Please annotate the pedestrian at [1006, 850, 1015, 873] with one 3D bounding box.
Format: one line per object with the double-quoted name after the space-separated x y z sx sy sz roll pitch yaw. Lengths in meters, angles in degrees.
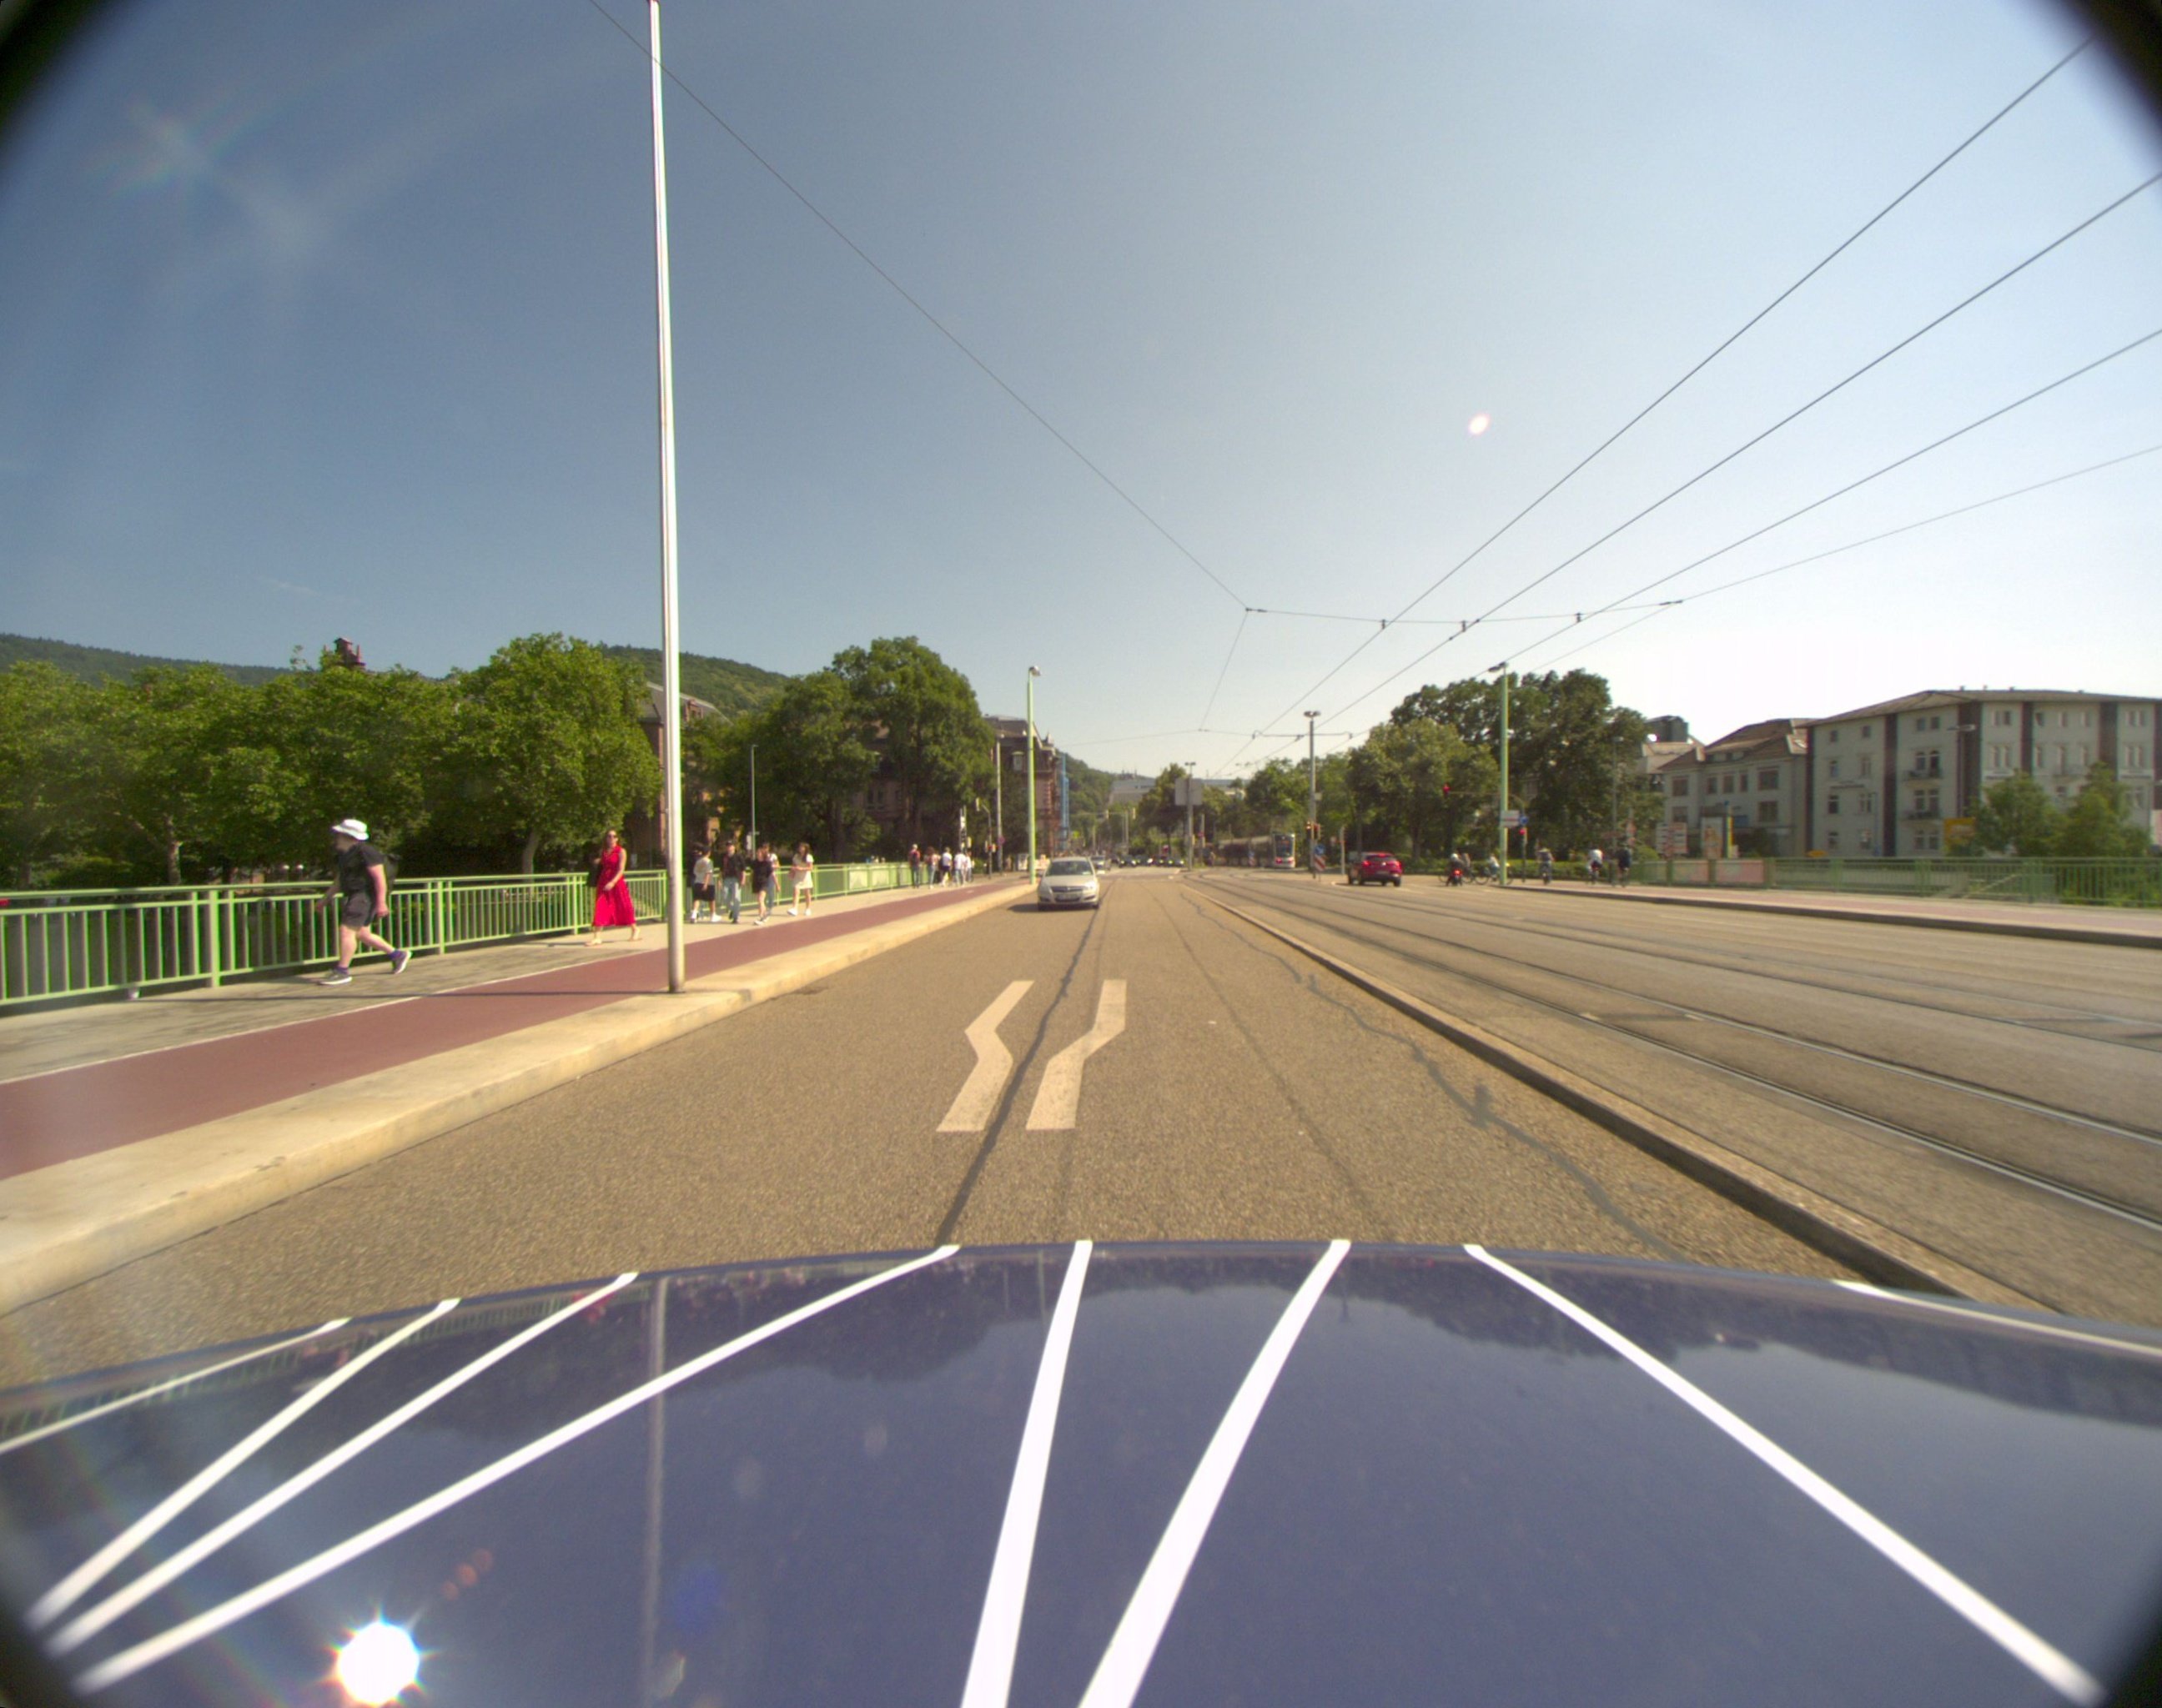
-6.350 0.669 68.365 0.777 2.002 1.059 0 1 -1 "pedestrian"

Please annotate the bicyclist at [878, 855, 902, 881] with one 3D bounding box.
-11.042 0.811 43.965 1.081 1.465 0.763 -2 0 23 "bicyclist"

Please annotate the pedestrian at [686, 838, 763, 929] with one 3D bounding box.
-7.155 0.567 15.316 0.987 1.759 1.254 0 1 -2 "pedestrian"

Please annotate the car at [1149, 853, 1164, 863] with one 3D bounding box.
10.559 0.537 106.502 1.637 1.301 3.913 0 0 -2 "car"

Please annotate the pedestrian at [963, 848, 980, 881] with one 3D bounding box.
-6.218 0.618 43.046 0.775 1.844 0.645 -1 0 6 "pedestrian"

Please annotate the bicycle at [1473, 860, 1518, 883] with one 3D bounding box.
21.750 0.909 39.906 0.762 1.107 1.915 -2 1 -39 "bicycle"

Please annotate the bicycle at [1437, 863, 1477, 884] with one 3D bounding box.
20.564 1.077 41.564 1.916 1.107 0.762 0 1 20 "bicycle"

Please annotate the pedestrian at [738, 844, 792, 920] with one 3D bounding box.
-7.173 0.622 17.277 0.836 1.667 0.885 -1 1 -3 "pedestrian"

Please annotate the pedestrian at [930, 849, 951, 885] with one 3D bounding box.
-6.457 0.602 34.875 0.801 1.625 0.949 0 1 -3 "pedestrian"

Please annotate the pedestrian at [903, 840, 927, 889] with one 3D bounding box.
-6.854 0.420 31.376 0.805 2.002 0.954 -1 1 -2 "pedestrian"

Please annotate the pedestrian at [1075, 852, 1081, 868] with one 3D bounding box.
-0.398 0.722 93.328 0.636 1.880 0.903 -1 0 -3 "pedestrian"

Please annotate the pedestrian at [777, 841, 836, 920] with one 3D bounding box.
-6.233 0.585 17.321 0.987 1.740 0.929 -1 1 -2 "pedestrian"

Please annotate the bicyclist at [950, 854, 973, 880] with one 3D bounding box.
-7.090 0.761 45.141 1.082 1.465 0.801 -2 0 8 "bicyclist"

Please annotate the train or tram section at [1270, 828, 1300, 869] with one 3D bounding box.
21.039 -0.624 78.678 2.474 3.755 11.860 -3 0 13 "train or tram section"

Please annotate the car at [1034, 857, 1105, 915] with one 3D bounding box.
-0.230 0.857 22.510 1.802 1.492 4.498 -1 0 3 "car"

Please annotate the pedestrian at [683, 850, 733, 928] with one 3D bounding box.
-7.594 0.704 15.481 0.651 1.553 0.692 0 0 4 "pedestrian"

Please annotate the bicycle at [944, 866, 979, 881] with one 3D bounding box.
-7.111 1.144 45.104 1.942 0.822 0.565 -2 0 8 "bicycle"

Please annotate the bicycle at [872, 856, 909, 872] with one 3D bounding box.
-10.758 0.562 42.889 1.942 0.822 0.565 -2 0 8 "bicycle"

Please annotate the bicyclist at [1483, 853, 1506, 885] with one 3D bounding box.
21.734 0.776 39.922 0.881 1.600 0.769 -2 2 -41 "bicyclist"

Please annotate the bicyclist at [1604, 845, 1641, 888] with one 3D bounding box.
20.592 0.462 28.912 0.879 1.600 0.772 -1 1 3 "bicyclist"

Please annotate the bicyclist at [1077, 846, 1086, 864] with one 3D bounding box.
0.036 0.083 83.454 0.944 2.002 0.830 0 1 -2 "bicyclist"

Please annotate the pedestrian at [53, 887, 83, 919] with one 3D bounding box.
-58.271 2.825 43.705 0.742 1.765 0.677 -2 0 -2 "pedestrian"

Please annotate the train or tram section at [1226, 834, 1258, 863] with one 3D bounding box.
22.321 -0.782 105.807 2.544 3.755 9.167 0 1 0 "train or tram section"

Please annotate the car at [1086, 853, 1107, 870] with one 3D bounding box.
1.493 0.753 74.664 1.998 1.564 4.000 -2 0 0 "car"

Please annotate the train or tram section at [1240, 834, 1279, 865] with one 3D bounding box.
22.615 -0.642 96.989 2.544 3.756 9.165 0 1 -2 "train or tram section"

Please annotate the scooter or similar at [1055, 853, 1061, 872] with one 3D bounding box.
-2.489 0.933 82.201 0.694 2.002 1.095 0 1 -2 "scooter or similar"

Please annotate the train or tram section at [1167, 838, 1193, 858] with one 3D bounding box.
17.641 -1.029 136.510 2.767 3.383 12.409 0 0 -1 "train or tram section"

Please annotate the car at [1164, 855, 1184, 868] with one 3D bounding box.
10.724 0.838 87.679 1.752 1.477 4.747 1 0 1 "car"

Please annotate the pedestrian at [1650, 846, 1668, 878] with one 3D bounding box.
33.097 0.463 43.512 0.702 1.782 0.694 -1 1 -40 "pedestrian"

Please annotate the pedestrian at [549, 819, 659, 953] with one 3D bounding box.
-7.218 0.460 11.556 1.017 1.942 0.939 -1 1 1 "pedestrian"

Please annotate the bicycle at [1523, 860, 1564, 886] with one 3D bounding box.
20.390 0.831 33.540 0.760 1.107 1.921 -3 -1 5 "bicycle"

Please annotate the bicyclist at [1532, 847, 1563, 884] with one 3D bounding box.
20.378 0.509 33.204 0.879 1.599 0.772 1 0 5 "bicyclist"

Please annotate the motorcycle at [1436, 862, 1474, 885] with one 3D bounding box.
17.543 0.907 35.668 0.847 1.019 1.952 -2 1 2 "motorcycle"

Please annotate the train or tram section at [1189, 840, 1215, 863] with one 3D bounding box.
18.232 -0.313 114.636 2.767 3.383 5.885 0 0 -2 "train or tram section"

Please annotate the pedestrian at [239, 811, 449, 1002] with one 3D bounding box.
-7.844 0.512 8.185 0.987 1.884 1.254 -1 1 -2 "pedestrian"

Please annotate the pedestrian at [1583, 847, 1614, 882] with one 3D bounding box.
22.253 0.434 32.687 0.745 1.447 0.899 -1 1 3 "pedestrian"

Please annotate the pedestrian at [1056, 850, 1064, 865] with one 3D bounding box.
-2.308 0.384 84.679 0.814 1.593 0.815 2 1 -2 "pedestrian"

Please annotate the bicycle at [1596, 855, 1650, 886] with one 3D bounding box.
20.580 0.620 28.883 0.760 1.107 1.920 -1 1 3 "bicycle"

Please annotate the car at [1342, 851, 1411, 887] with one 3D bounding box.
13.518 0.655 34.972 1.997 1.506 4.191 -1 1 7 "car"

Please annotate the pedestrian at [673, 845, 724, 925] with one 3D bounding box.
-8.002 0.637 15.921 0.651 1.622 0.692 -2 1 4 "pedestrian"

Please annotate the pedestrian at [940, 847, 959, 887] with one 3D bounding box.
-5.708 0.547 33.108 0.697 1.707 0.731 -1 1 -2 "pedestrian"

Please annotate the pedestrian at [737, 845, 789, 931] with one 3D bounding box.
-6.303 0.652 15.113 0.656 1.640 0.868 -1 1 -2 "pedestrian"

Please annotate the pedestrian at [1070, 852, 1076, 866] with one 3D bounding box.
-1.004 0.614 93.037 0.707 1.743 0.902 0 2 -3 "pedestrian"

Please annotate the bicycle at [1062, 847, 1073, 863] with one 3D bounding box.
-0.888 0.062 50.412 0.643 1.076 2.496 0 0 0 "bicycle"

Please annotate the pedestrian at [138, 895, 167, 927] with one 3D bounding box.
-52.691 3.219 43.118 0.742 1.765 0.677 -2 0 -2 "pedestrian"

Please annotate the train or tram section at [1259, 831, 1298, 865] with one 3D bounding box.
22.593 -0.628 87.431 2.409 3.659 9.621 0 0 2 "train or tram section"

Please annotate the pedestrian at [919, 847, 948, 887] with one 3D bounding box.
-6.057 0.517 31.261 0.987 1.606 0.921 -1 1 -2 "pedestrian"

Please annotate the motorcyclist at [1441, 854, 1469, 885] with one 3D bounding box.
17.556 0.703 35.651 0.847 1.394 0.898 -2 1 1 "motorcyclist"

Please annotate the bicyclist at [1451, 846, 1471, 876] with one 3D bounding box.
20.736 0.368 41.475 0.878 1.600 0.773 0 1 20 "bicyclist"

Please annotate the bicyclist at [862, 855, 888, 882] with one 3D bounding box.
-11.823 0.827 43.664 1.081 1.465 0.929 -2 0 11 "bicyclist"

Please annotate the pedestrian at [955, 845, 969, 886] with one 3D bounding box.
-5.257 0.502 33.605 0.550 1.789 0.645 -1 1 -2 "pedestrian"

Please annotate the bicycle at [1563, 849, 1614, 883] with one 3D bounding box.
22.216 0.503 33.298 0.706 1.391 2.163 -4 0 1 "bicycle"

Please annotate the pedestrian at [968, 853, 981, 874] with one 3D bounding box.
-9.401 0.857 67.211 1.060 1.772 0.700 -1 5 -12 "pedestrian"

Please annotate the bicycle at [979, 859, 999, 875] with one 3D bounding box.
-8.158 1.174 67.649 0.801 1.199 2.276 2 5 20 "bicycle"
